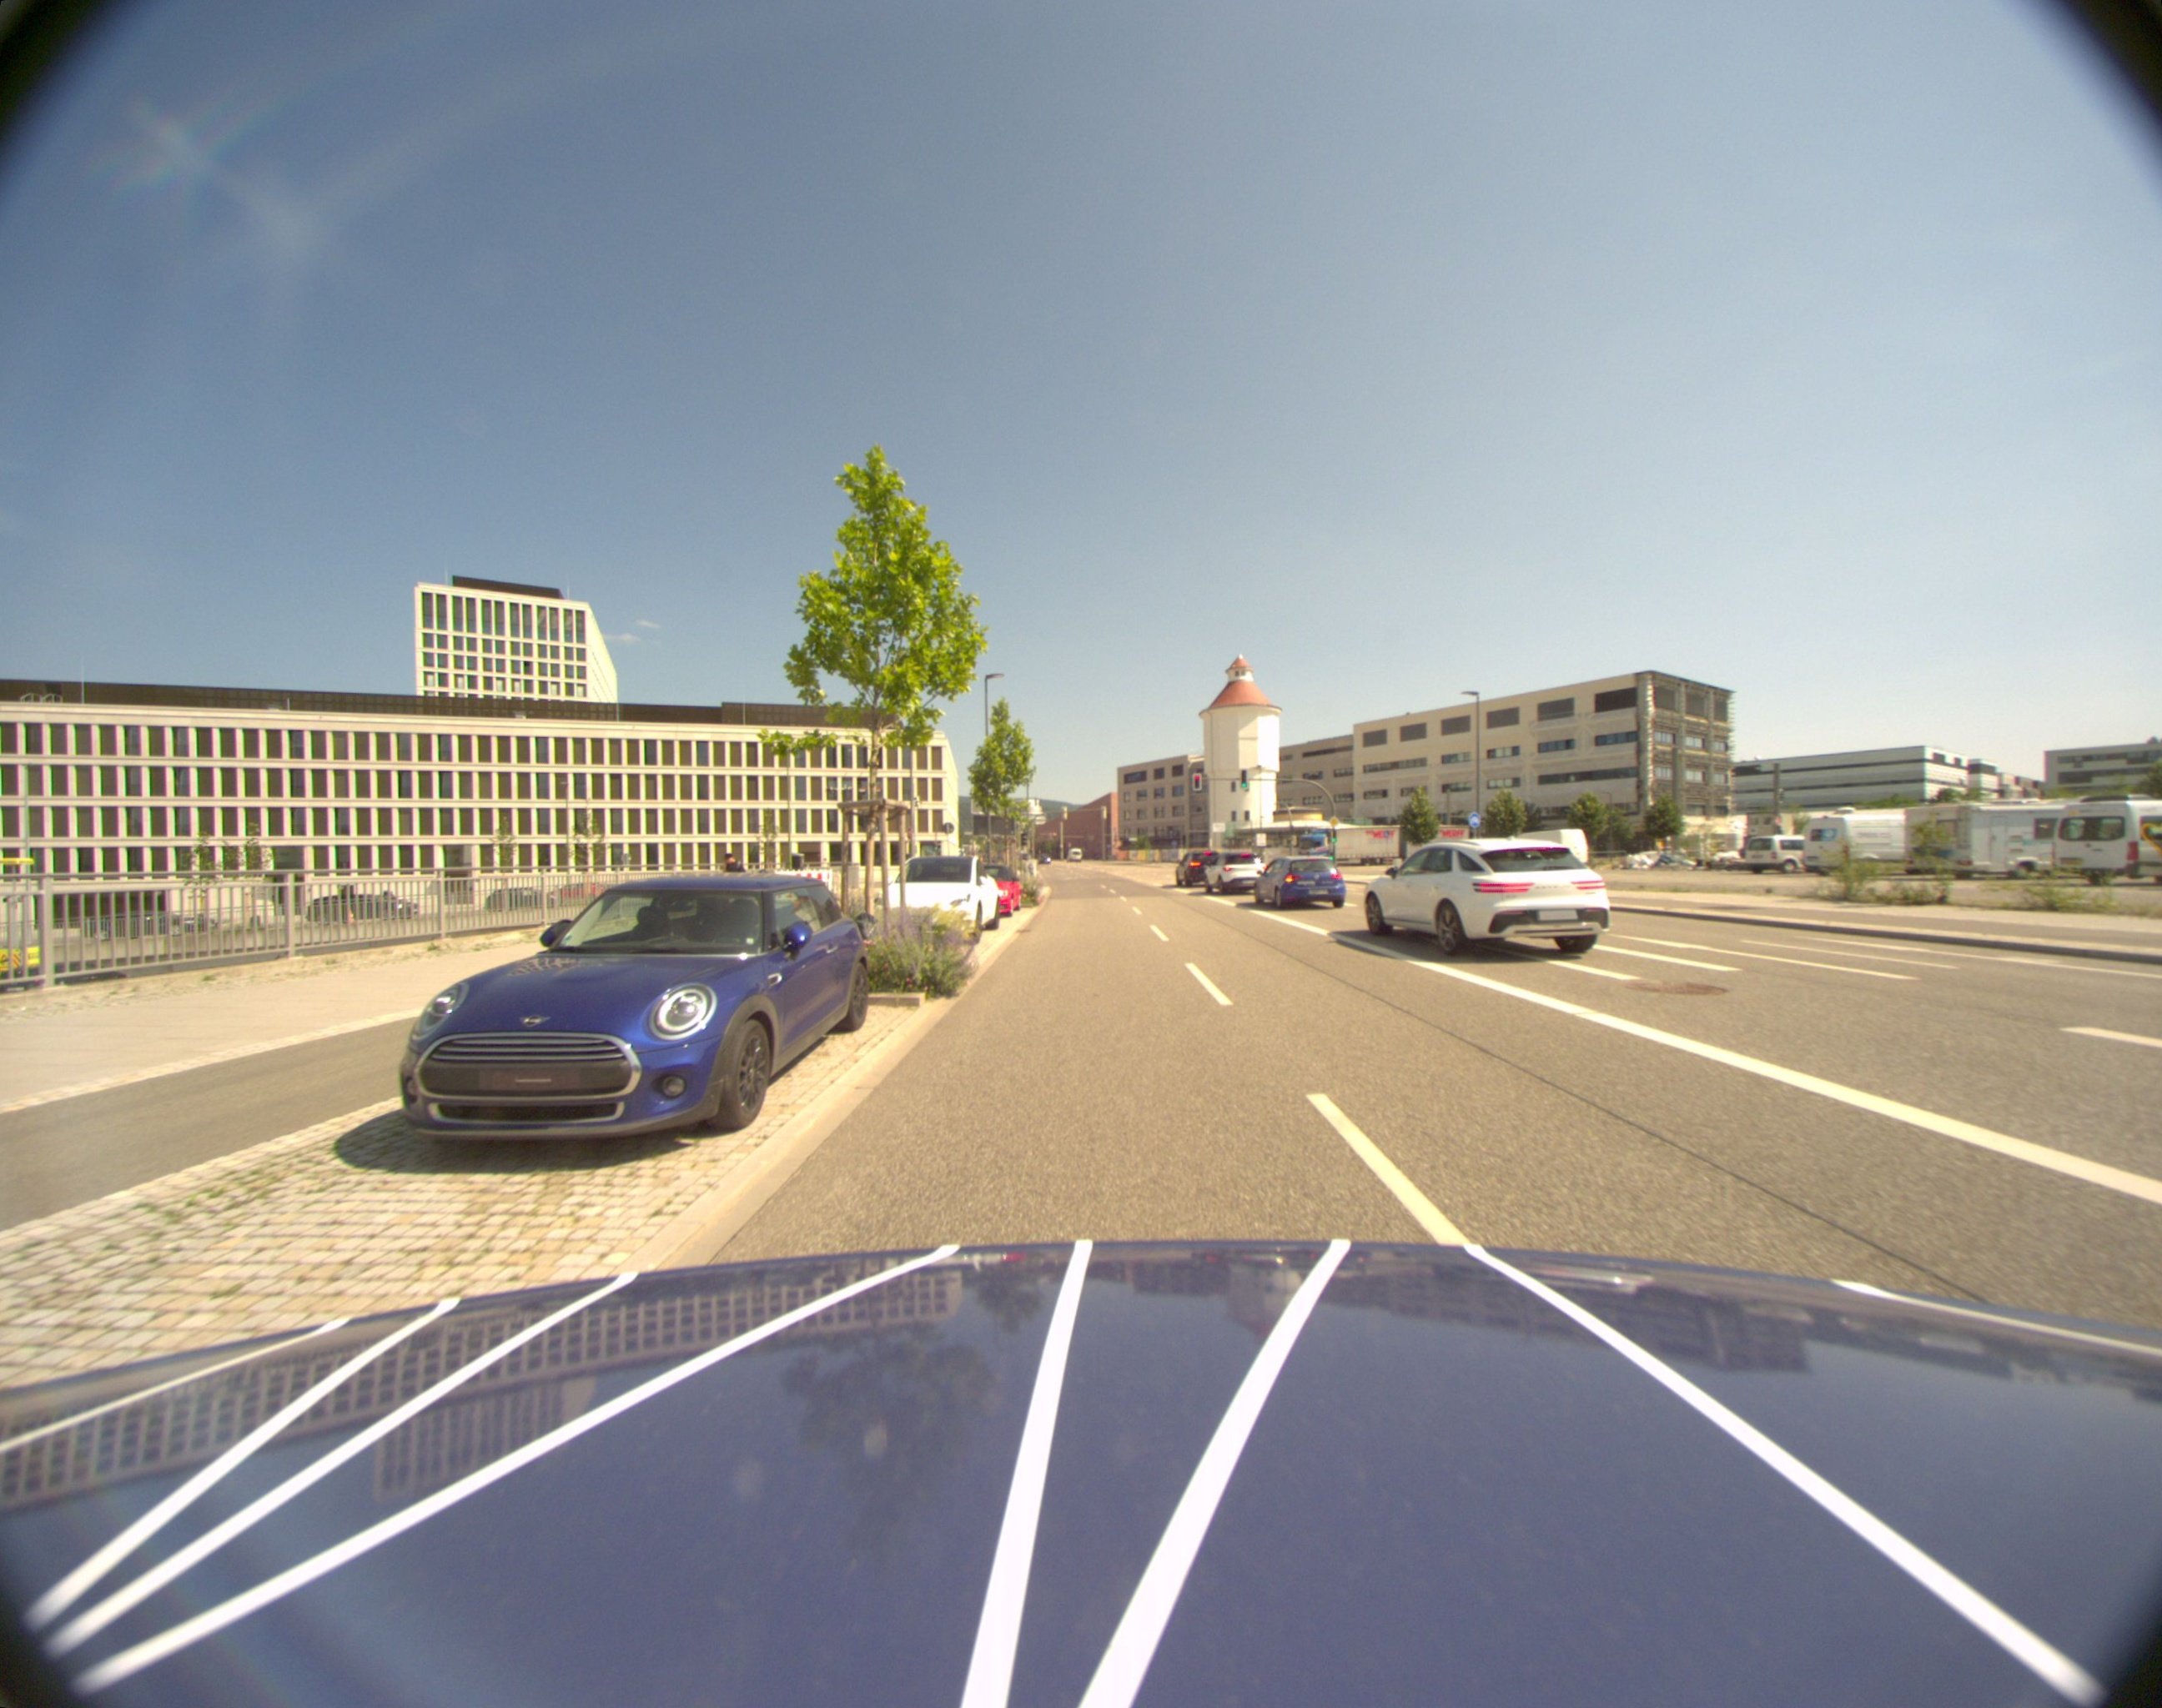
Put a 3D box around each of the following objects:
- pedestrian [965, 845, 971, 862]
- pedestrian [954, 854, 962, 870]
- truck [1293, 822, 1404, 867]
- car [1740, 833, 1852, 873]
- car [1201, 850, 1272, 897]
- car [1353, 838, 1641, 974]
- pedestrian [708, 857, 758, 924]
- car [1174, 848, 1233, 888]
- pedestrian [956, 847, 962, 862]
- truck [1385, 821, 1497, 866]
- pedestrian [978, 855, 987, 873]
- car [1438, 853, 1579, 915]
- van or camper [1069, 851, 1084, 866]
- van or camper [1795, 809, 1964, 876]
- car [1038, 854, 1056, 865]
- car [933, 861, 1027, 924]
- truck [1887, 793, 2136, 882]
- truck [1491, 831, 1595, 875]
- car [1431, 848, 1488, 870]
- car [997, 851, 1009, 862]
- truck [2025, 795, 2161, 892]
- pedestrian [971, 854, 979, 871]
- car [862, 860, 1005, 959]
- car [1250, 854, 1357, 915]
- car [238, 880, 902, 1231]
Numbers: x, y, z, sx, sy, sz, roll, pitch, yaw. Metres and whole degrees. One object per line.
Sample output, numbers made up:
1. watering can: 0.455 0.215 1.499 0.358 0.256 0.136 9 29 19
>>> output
1. pedestrian: -12.506 -0.067 83.980 0.579 1.725 0.999 -2 -14 -7
2. pedestrian: -13.605 0.853 83.783 0.827 1.773 0.926 -1 2 -8
3. truck: 27.939 -1.043 79.305 10.987 4.045 3.297 -3 2 -17
4. car: 34.261 -0.042 36.465 3.876 1.748 1.657 -2 0 -3
5. car: 5.976 0.719 29.626 1.783 1.672 4.098 -1 0 -2
6. car: 6.016 0.641 11.805 1.918 1.640 4.730 -2 0 1
7. pedestrian: -8.616 0.893 18.837 0.752 1.600 0.949 1 0 1
8. car: 5.953 0.650 37.512 1.944 1.778 4.655 -3 0 -2
9. pedestrian: -13.464 0.060 83.839 0.579 1.710 0.996 0 1 -8
10. truck: 38.801 -1.156 81.924 10.950 4.251 3.341 -3 2 -10
11. pedestrian: -10.105 1.021 78.020 0.880 1.815 1.664 -3 0 -6
12. car: 11.735 0.770 21.134 1.898 1.407 3.597 -3 1 1
13. van or camper: -0.861 0.815 136.557 2.159 2.400 5.679 -3 0 -6
14. van or camper: 34.671 -0.472 33.122 4.912 2.646 2.260 -2 0 1
15. car: -5.430 0.912 120.971 1.785 1.552 3.826 -3 0 -17
16. car: -2.728 1.004 21.440 1.998 1.510 4.000 -2 0 1
17. truck: 35.128 -0.623 28.863 6.160 2.885 2.570 -3 2 2
18. truck: 29.808 -0.095 49.270 2.174 2.639 5.938 -1 1 -14
19. car: 31.966 0.417 64.142 4.002 1.630 1.878 -2 1 -14
20. car: -12.818 0.375 124.698 1.811 1.500 3.996 -3 2 -8
21. truck: 34.375 -0.430 23.961 5.849 2.809 2.570 -3 2 2
22. pedestrian: -10.829 0.900 77.685 0.702 1.713 0.796 -3 0 -5
23. car: -2.745 0.962 15.314 1.877 1.617 4.876 -1 0 0
24. car: 6.103 0.776 21.385 1.790 1.413 4.281 -2 1 1
25. car: -2.826 0.987 5.531 1.913 1.470 4.158 0 0 2
